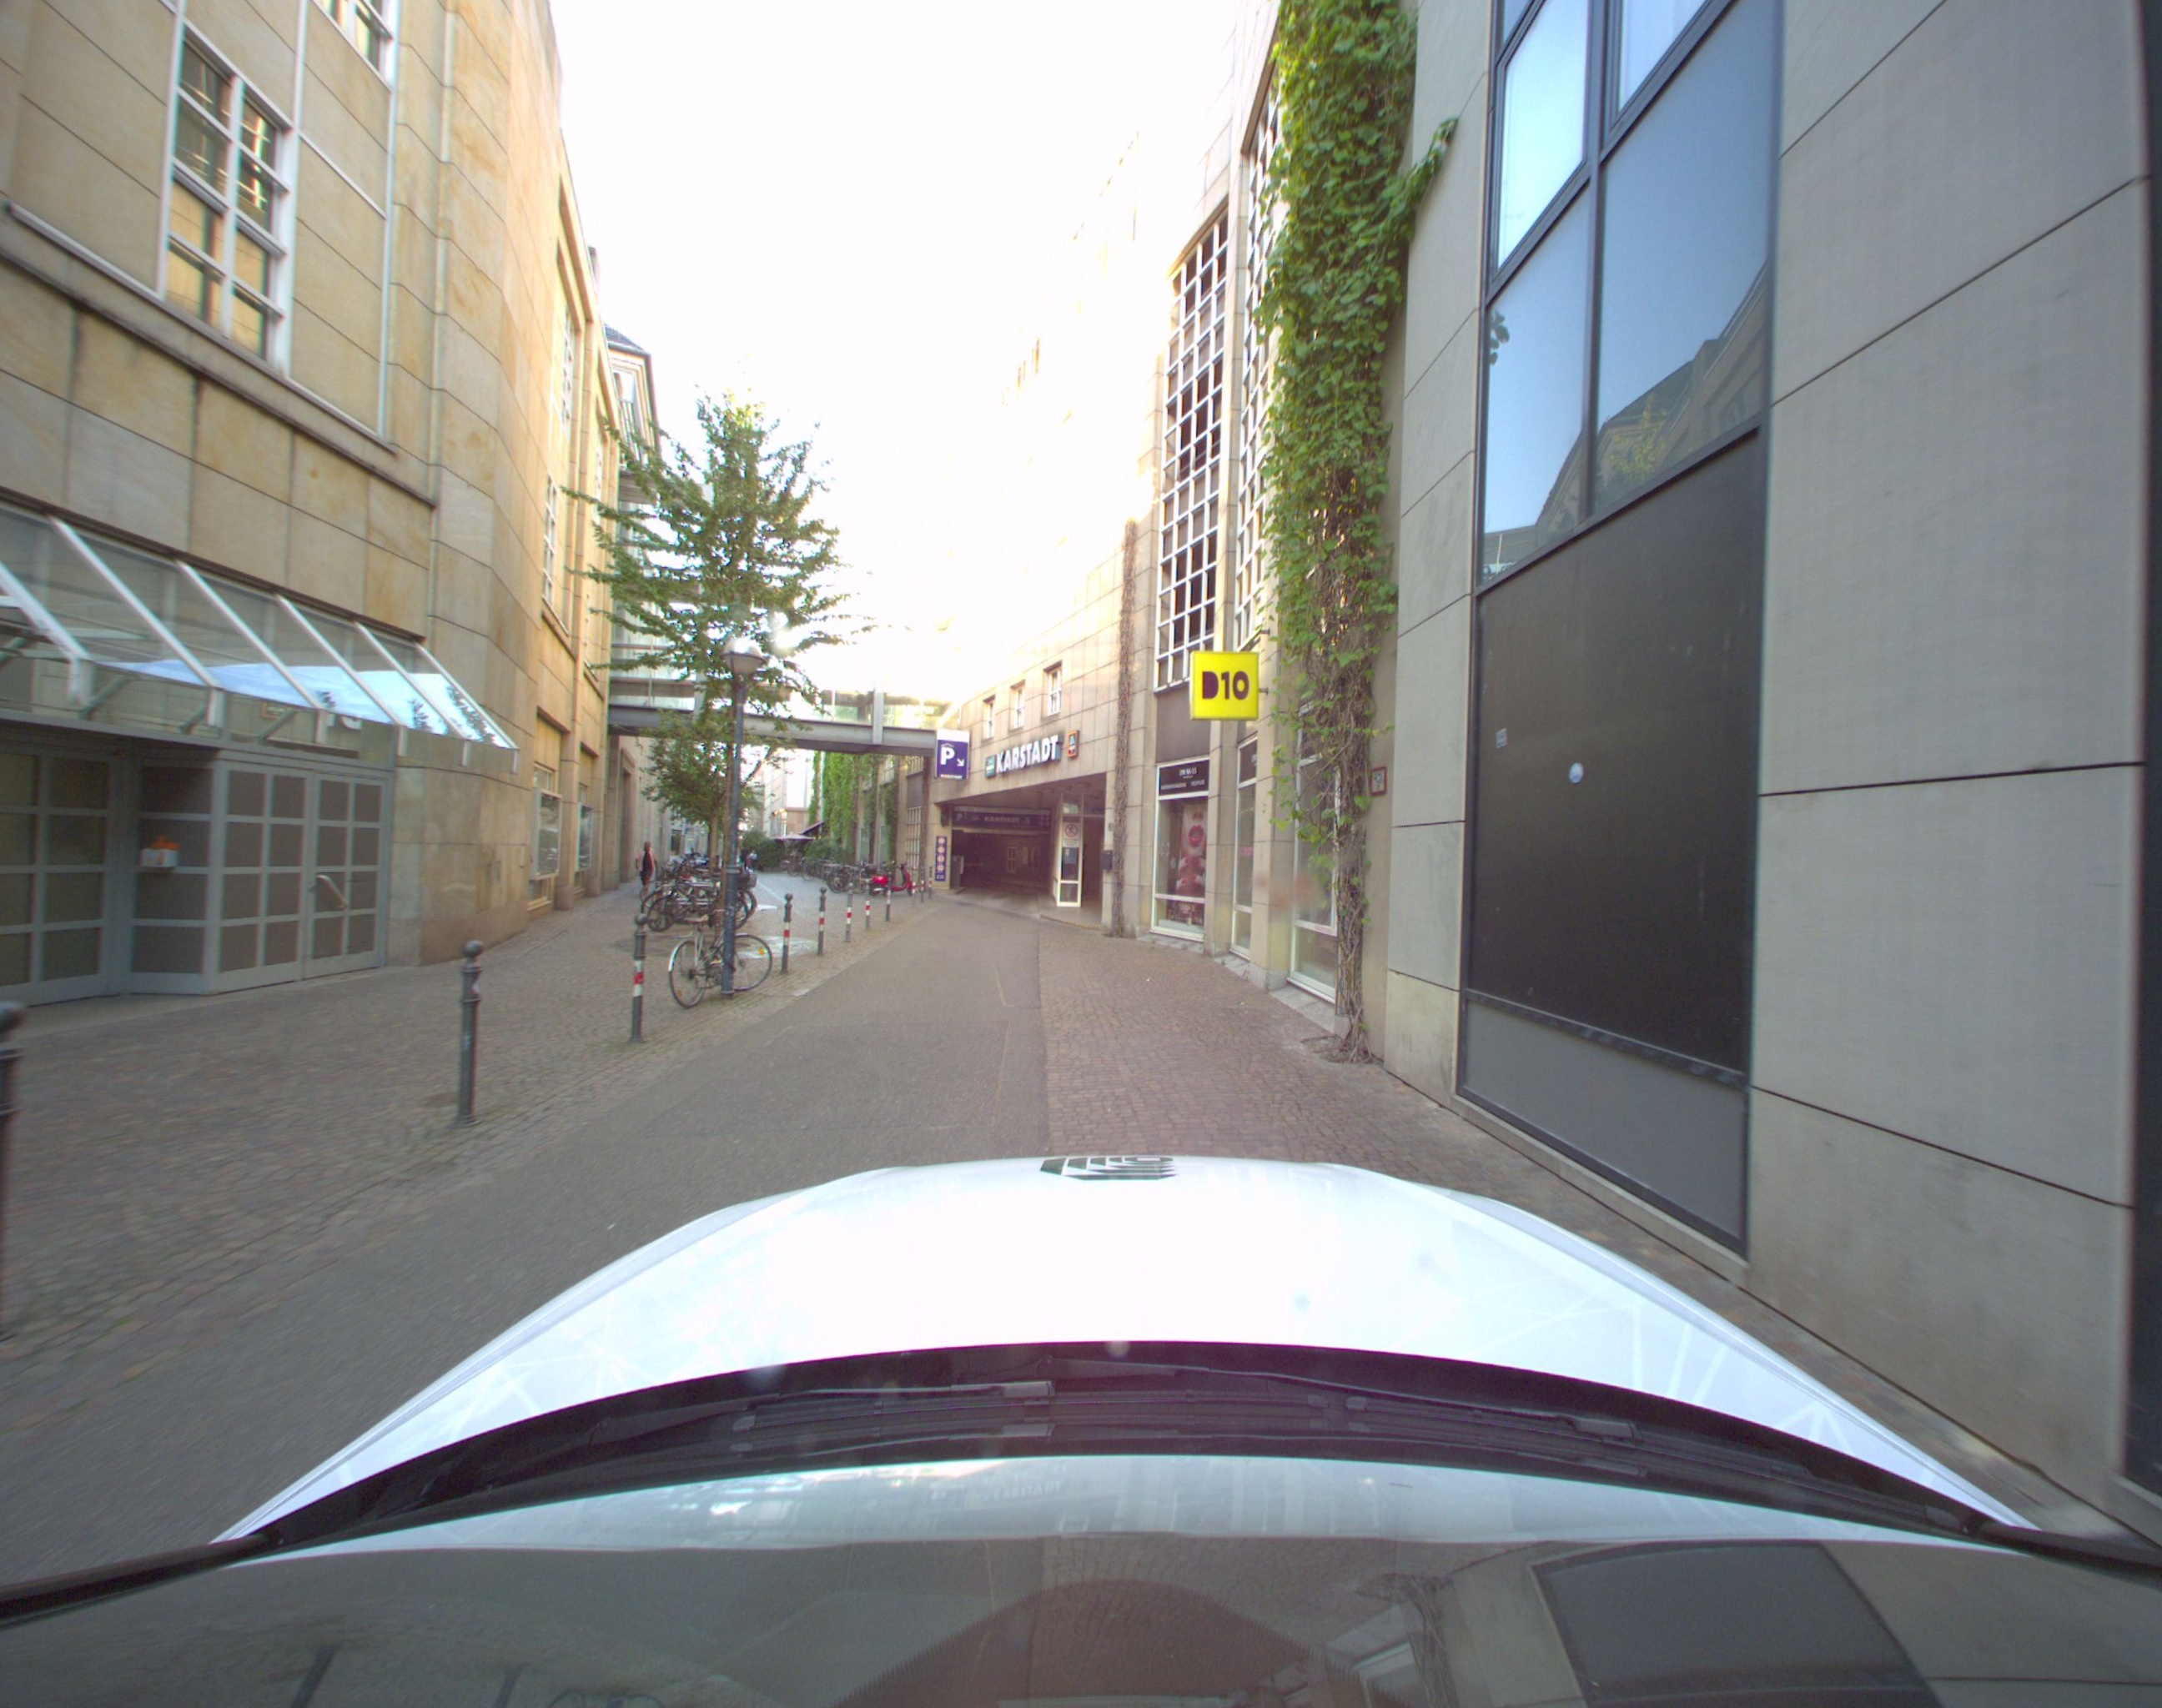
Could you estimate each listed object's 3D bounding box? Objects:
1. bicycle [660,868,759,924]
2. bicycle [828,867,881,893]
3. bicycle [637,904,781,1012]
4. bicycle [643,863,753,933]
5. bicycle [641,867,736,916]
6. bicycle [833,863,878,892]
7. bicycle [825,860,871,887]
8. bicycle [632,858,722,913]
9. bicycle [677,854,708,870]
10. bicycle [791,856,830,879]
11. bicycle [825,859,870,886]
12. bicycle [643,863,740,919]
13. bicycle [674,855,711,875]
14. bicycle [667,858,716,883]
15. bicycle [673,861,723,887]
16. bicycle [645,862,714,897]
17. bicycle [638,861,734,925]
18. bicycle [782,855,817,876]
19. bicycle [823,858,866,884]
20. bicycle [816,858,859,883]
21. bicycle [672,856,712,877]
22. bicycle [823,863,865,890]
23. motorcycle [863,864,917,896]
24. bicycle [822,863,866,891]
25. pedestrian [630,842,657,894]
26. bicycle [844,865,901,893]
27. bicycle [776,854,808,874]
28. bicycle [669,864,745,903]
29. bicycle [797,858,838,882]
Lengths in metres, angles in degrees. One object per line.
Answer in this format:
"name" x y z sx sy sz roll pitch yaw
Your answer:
"bicycle" -7.773 0.870 17.079 1.846 1.122 0.529 1 0 -27
"bicycle" -8.212 0.939 29.532 1.782 0.904 0.460 1 0 -25
"bicycle" -3.936 1.065 8.767 0.490 0.939 1.664 3 0 11
"bicycle" -7.022 0.794 14.968 1.776 1.231 0.529 1 0 -27
"bicycle" -8.881 0.837 18.473 1.904 1.052 0.529 1 0 -27
"bicycle" -8.422 0.875 30.467 1.547 1.049 0.571 1 0 -25
"bicycle" -9.704 0.819 33.914 1.782 1.114 0.538 1 0 -25
"bicycle" -9.443 0.731 19.102 1.843 1.225 0.529 1 0 -27
"bicycle" -27.075 0.555 56.720 1.915 1.112 0.477 1 0 -28
"bicycle" -13.605 0.676 40.969 1.782 1.114 0.538 1 0 -25
"bicycle" -10.040 0.782 34.962 1.782 1.114 0.538 1 0 -25
"bicycle" -8.565 0.798 17.969 1.882 1.177 0.529 1 0 -27
"bicycle" -22.713 0.647 47.577 1.914 1.112 0.477 1 0 -27
"bicycle" -16.024 0.677 33.512 1.789 1.019 0.477 1 0 -27
"bicycle" -15.394 0.804 32.725 1.789 1.019 0.477 1 0 -27
"bicycle" -12.022 0.759 24.439 1.834 1.043 0.529 1 0 -27
"bicycle" -7.824 0.757 16.182 1.662 1.231 0.529 1 0 -27
"bicycle" -15.456 0.657 44.793 1.780 1.114 0.539 1 0 -22
"bicycle" -10.485 0.763 36.129 1.782 1.114 0.538 1 0 -25
"bicycle" -11.099 0.737 37.111 1.782 1.114 0.538 1 0 -25
"bicycle" -20.820 0.692 43.608 1.914 1.112 0.477 1 0 -27
"bicycle" -9.524 0.905 32.753 1.547 1.049 0.571 1 0 -25
"motorcycle" -6.375 0.867 27.205 1.671 1.050 0.460 1 0 -25
"bicycle" -9.120 0.886 31.387 1.547 1.049 0.571 1 0 -25
"pedestrian" -13.637 0.431 25.397 0.701 1.582 0.713 1 0 -26
"bicycle" -7.357 0.891 28.751 1.857 0.982 0.460 1 0 -25
"bicycle" -17.673 0.634 49.757 1.782 1.190 0.581 1 0 -25
"bicycle" -10.462 0.809 22.808 1.887 1.043 0.529 1 0 -27
"bicycle" -12.698 0.782 39.237 1.782 1.114 0.538 1 0 -25
